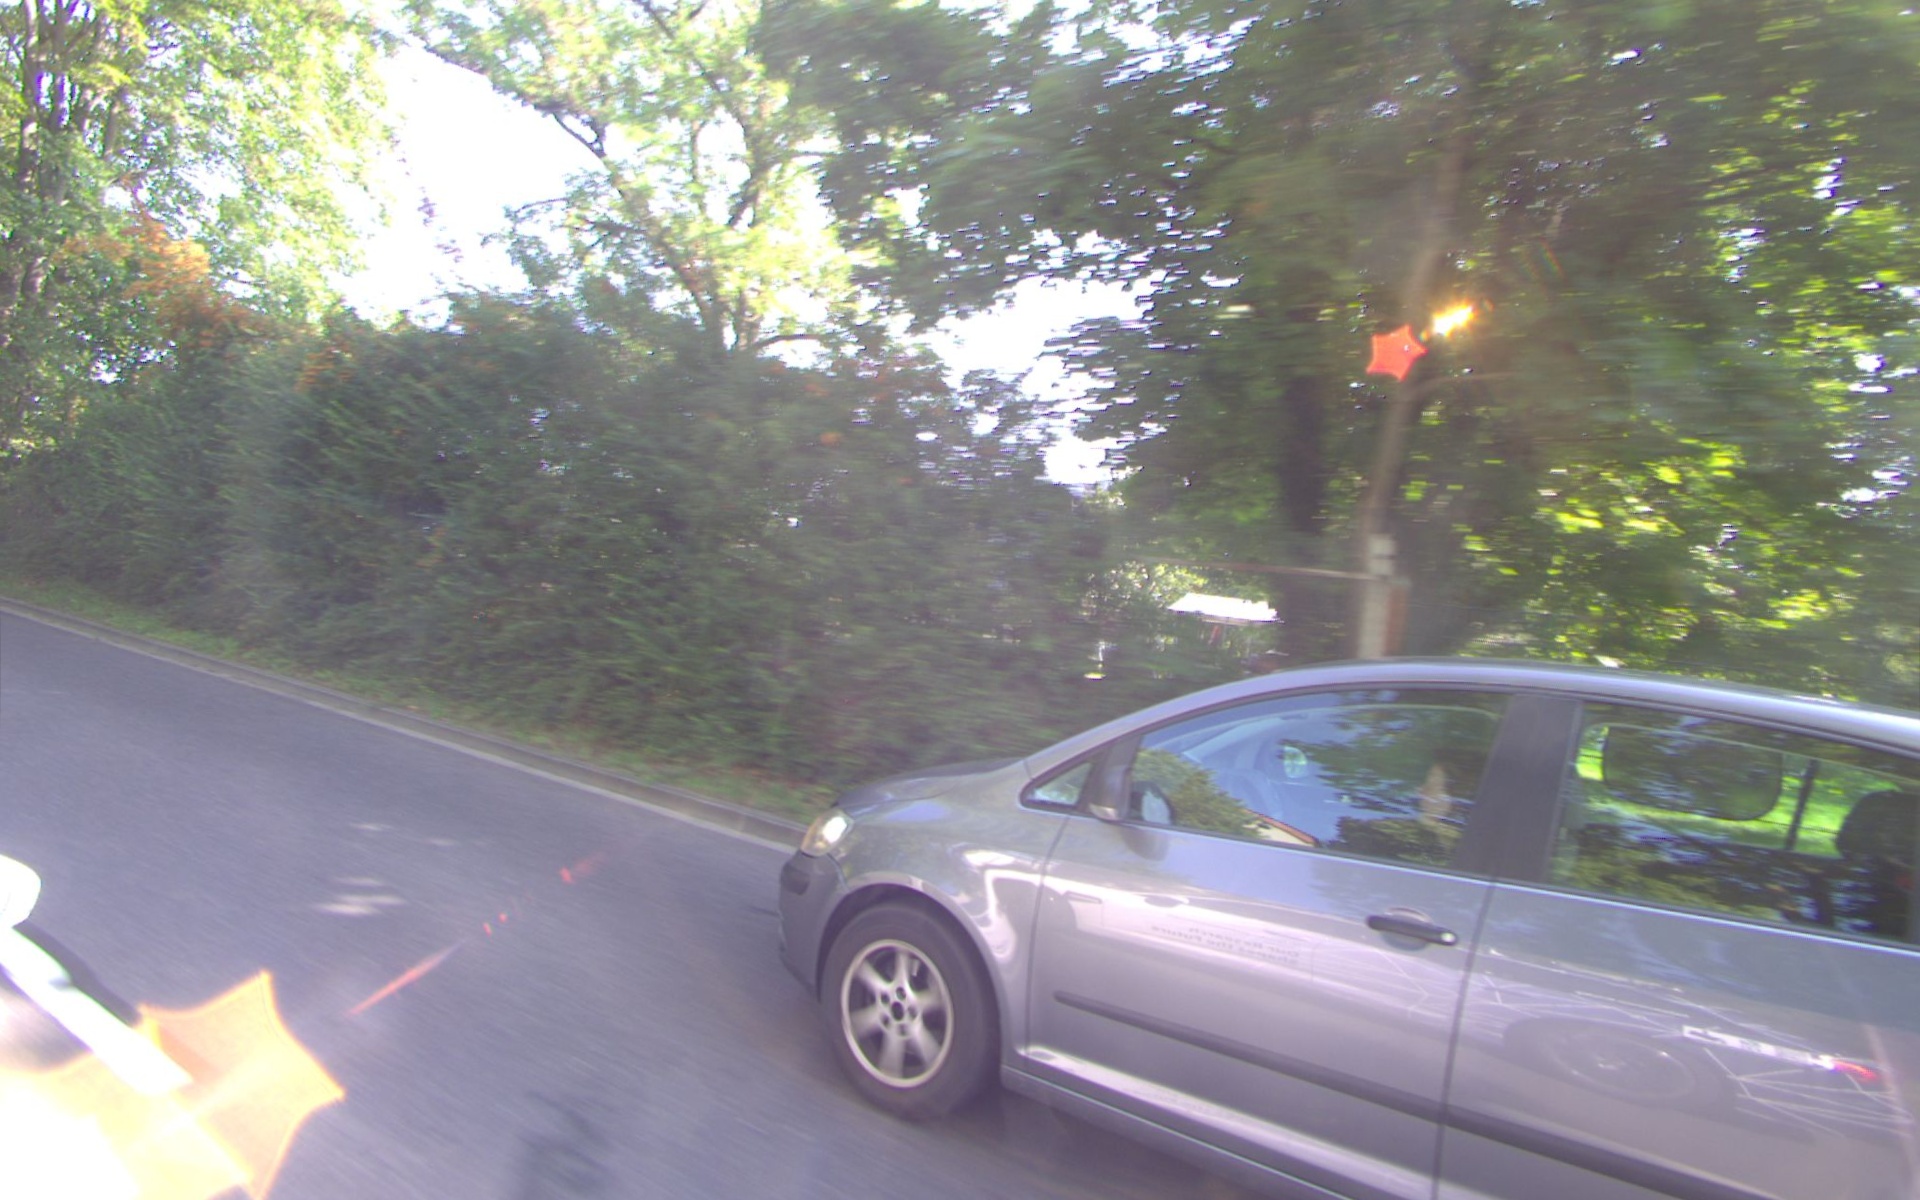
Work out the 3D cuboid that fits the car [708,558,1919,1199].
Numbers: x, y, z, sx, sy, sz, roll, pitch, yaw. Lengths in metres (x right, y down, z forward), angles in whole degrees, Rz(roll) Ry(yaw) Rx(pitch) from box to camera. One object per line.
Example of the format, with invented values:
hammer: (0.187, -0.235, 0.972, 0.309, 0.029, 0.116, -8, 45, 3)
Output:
car: (1.313, 0.910, 3.000, 3.834, 1.574, 1.649, 6, -3, 32)
